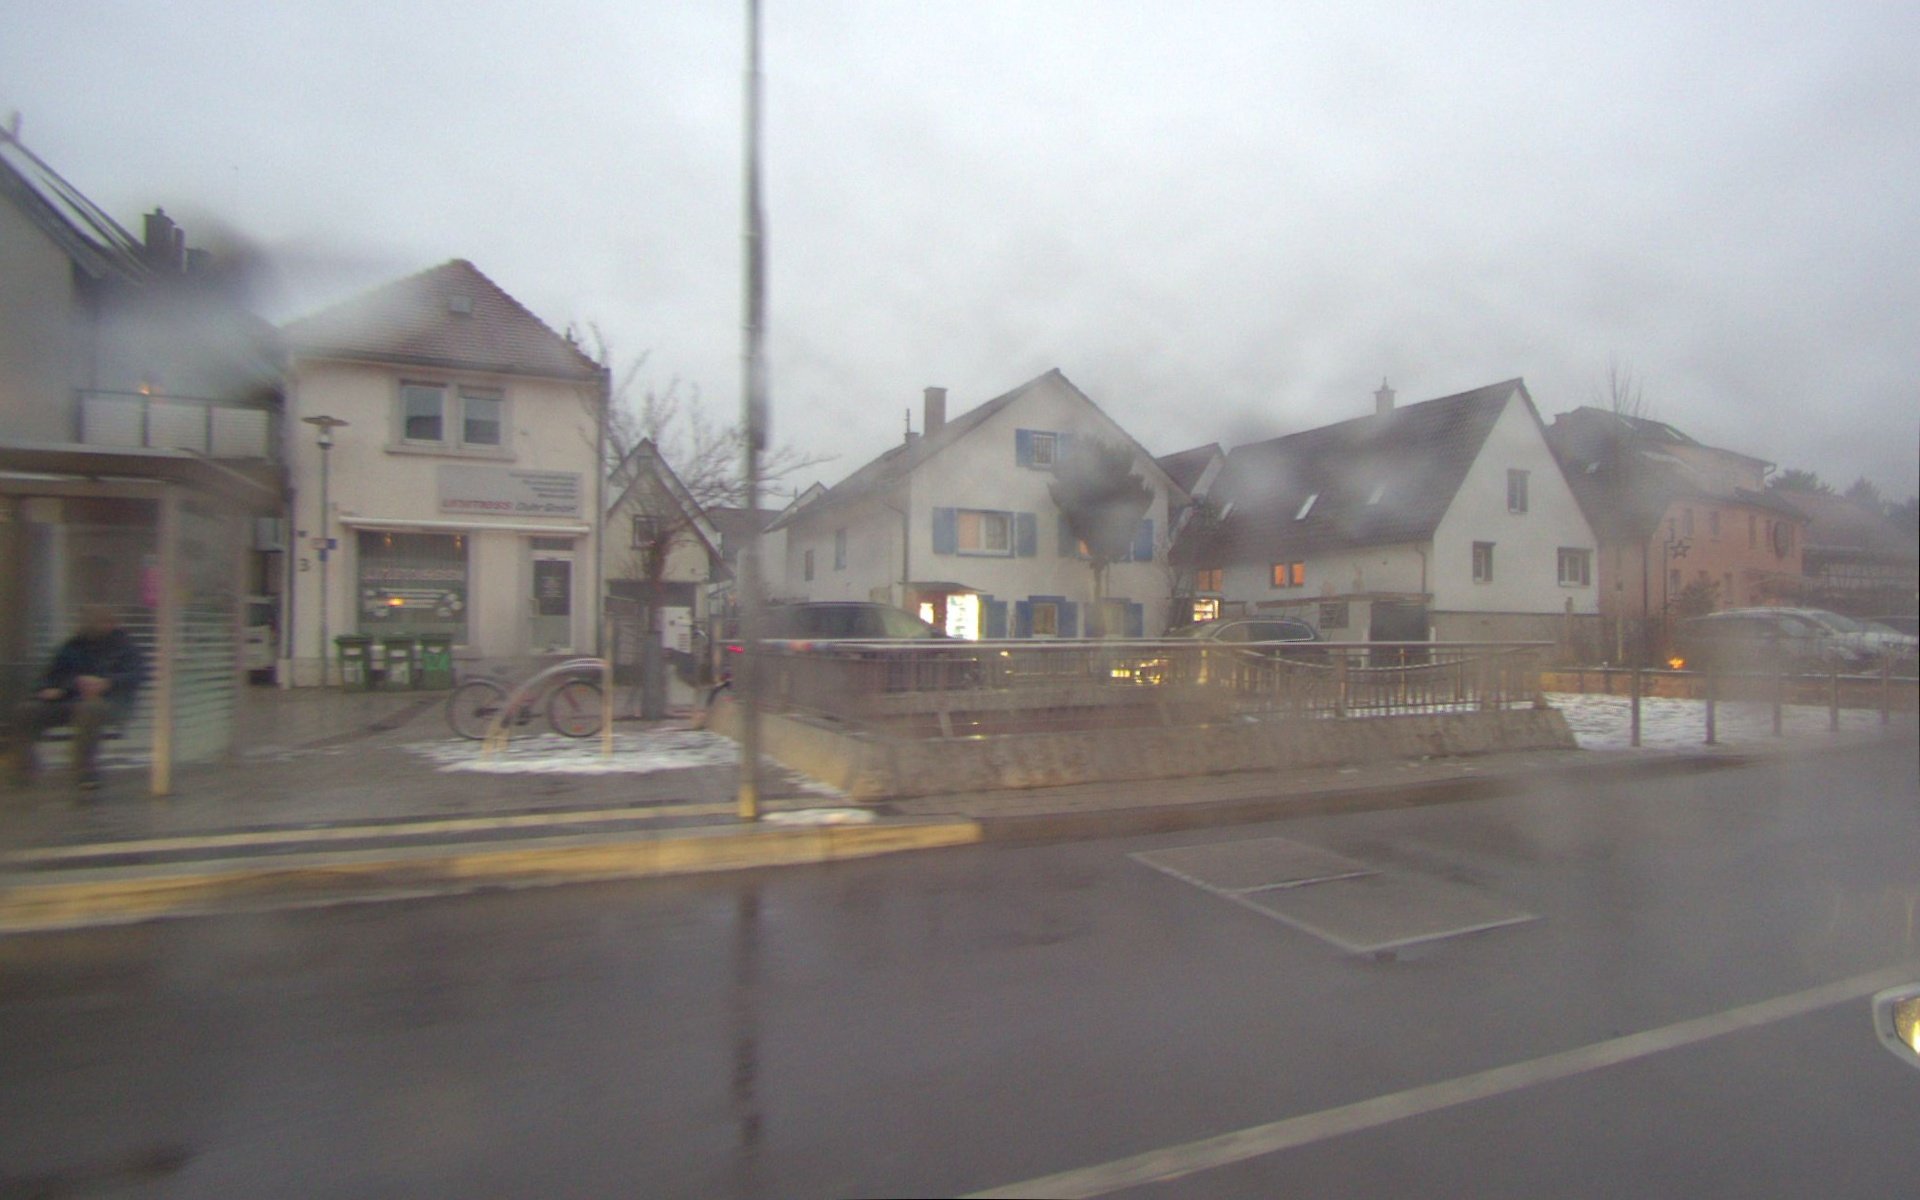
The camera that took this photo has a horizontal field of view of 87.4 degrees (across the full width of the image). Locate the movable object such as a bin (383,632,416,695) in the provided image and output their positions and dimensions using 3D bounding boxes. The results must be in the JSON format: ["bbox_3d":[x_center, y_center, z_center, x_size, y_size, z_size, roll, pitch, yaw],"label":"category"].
[{"bbox_3d":[-10.322,1.171,18.504,0.447,1.135,0.286,3,-1,-25],"label":"movable object such as a bin"}]

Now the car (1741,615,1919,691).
[{"bbox_3d":[20.943,1.180,23.391,1.566,1.629,4.080,1,-1,-26],"label":"car"}]

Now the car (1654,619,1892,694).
[{"bbox_3d":[16.354,1.092,20.371,1.582,1.390,3.429,1,-2,-30],"label":"car"}]

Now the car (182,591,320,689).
[{"bbox_3d":[-14.803,0.827,21.155,1.491,1.877,3.411,1,-2,-21],"label":"car"}]

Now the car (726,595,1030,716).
[{"bbox_3d":[-1.297,0.849,16.020,4.501,1.723,1.751,0,-4,-24],"label":"car"}]

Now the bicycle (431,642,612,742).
[{"bbox_3d":[-4.667,0.966,10.782,1.709,1.023,0.470,1,-1,-14],"label":"bicycle"}]

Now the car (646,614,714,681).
[{"bbox_3d":[-9.277,1.580,33.099,1.810,2.045,3.566,0,-3,-21],"label":"car"}]

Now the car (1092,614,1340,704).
[{"bbox_3d":[4.897,1.065,19.105,4.514,1.502,1.796,0,-2,-28],"label":"car"}]

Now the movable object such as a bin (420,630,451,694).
[{"bbox_3d":[-9.777,1.157,18.731,0.447,1.157,0.286,3,-1,-25],"label":"movable object such as a bin"}]

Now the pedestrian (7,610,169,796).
[{"bbox_3d":[-6.448,0.723,7.473,0.740,1.288,0.683,0,0,-25],"label":"pedestrian"}]

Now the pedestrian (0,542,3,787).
[{"bbox_3d":[-7.055,0.464,6.785,0.679,1.765,0.744,0,1,-29],"label":"pedestrian"}]

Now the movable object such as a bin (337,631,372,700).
[{"bbox_3d":[-10.972,1.184,18.212,0.447,1.225,0.286,3,-1,-25],"label":"movable object such as a bin"}]

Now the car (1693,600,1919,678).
[{"bbox_3d":[18.585,0.801,21.988,1.690,1.543,3.785,1,-1,-23],"label":"car"}]
